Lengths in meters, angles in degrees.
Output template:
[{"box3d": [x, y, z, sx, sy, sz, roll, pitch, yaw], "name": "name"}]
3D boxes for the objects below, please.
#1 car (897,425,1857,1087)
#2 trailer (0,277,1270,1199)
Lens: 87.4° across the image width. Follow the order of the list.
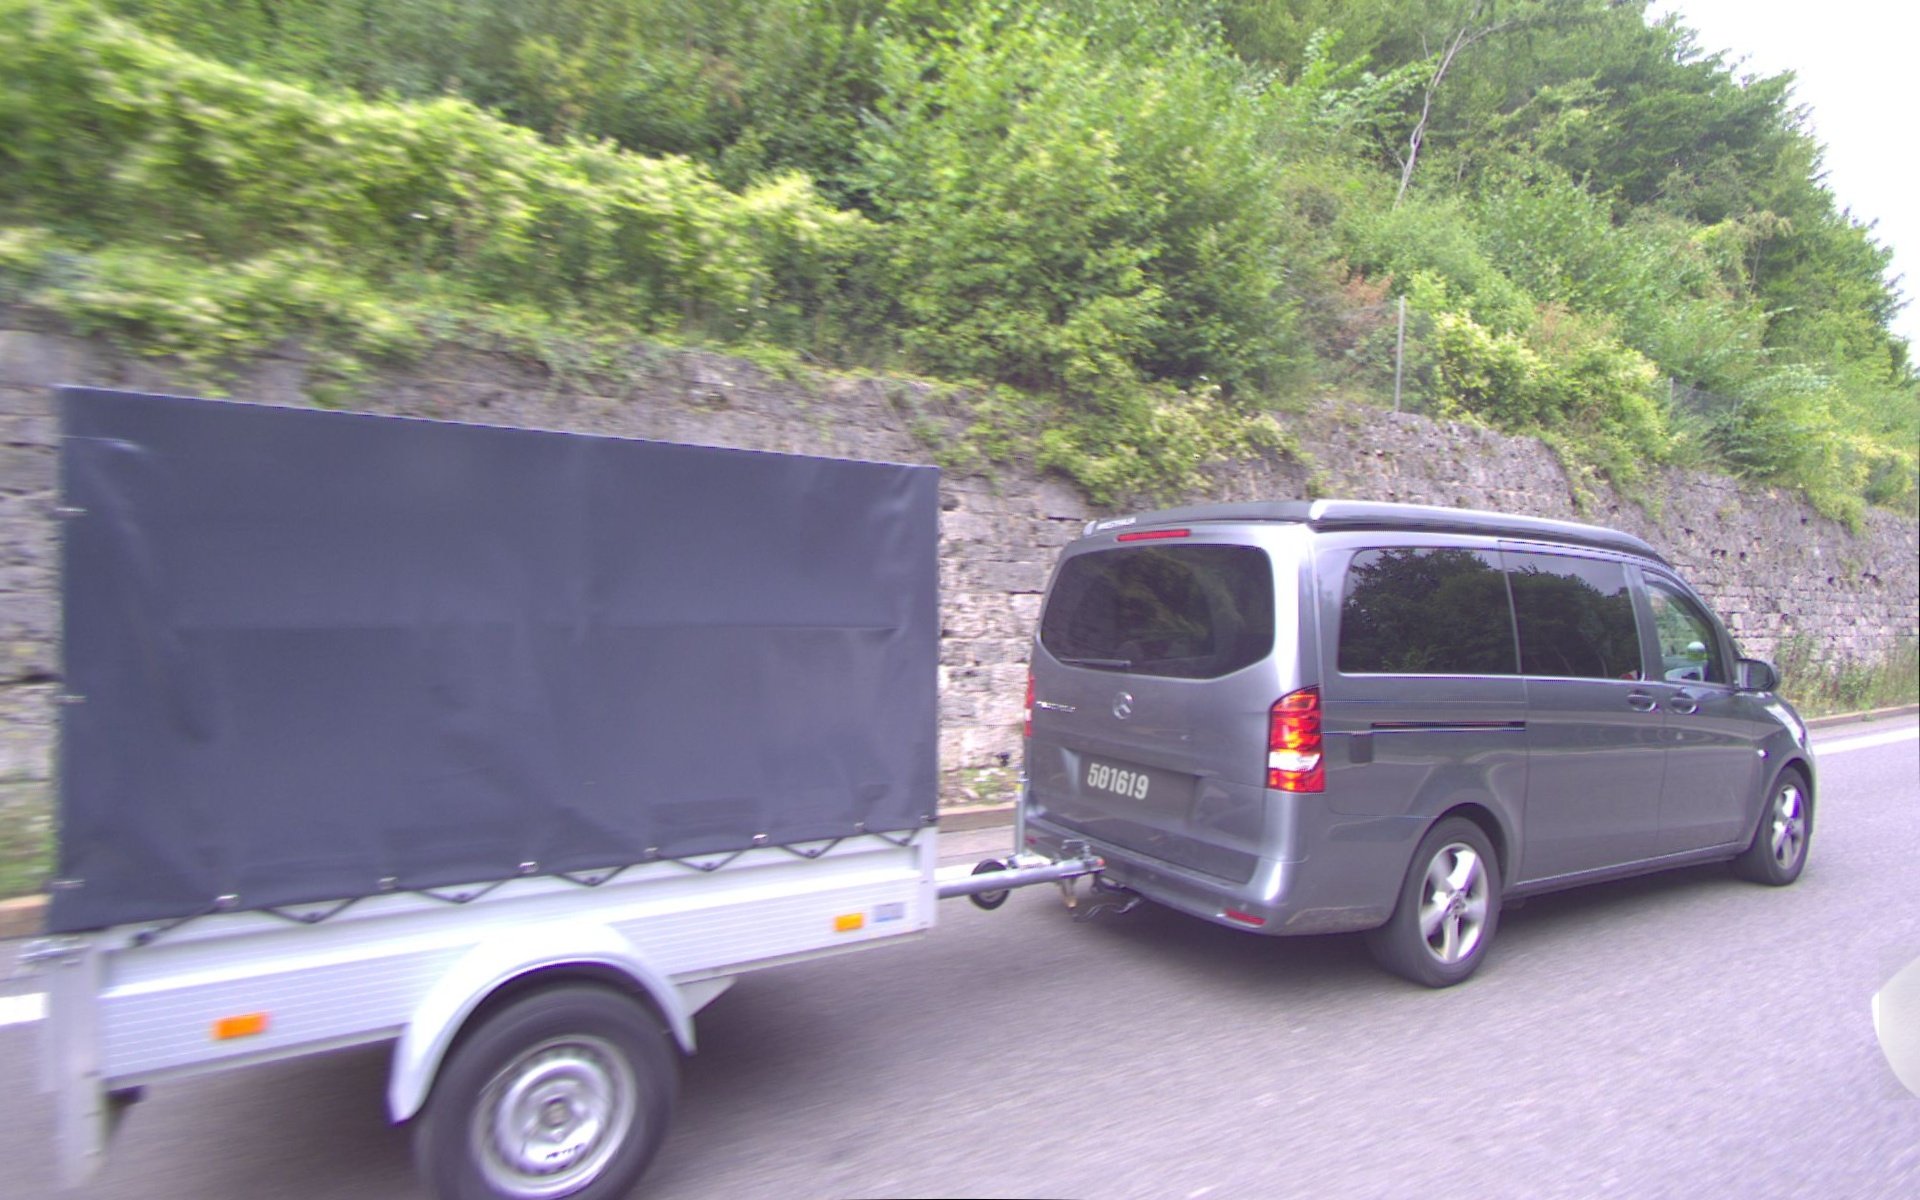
[{"box3d": [2.536, 0.516, 5.404, 5.478, 2.040, 1.983, 1, 0, -32], "name": "car"}, {"box3d": [-0.930, 0.469, 3.232, 3.392, 1.965, 1.960, 1, 0, -32], "name": "trailer"}]
